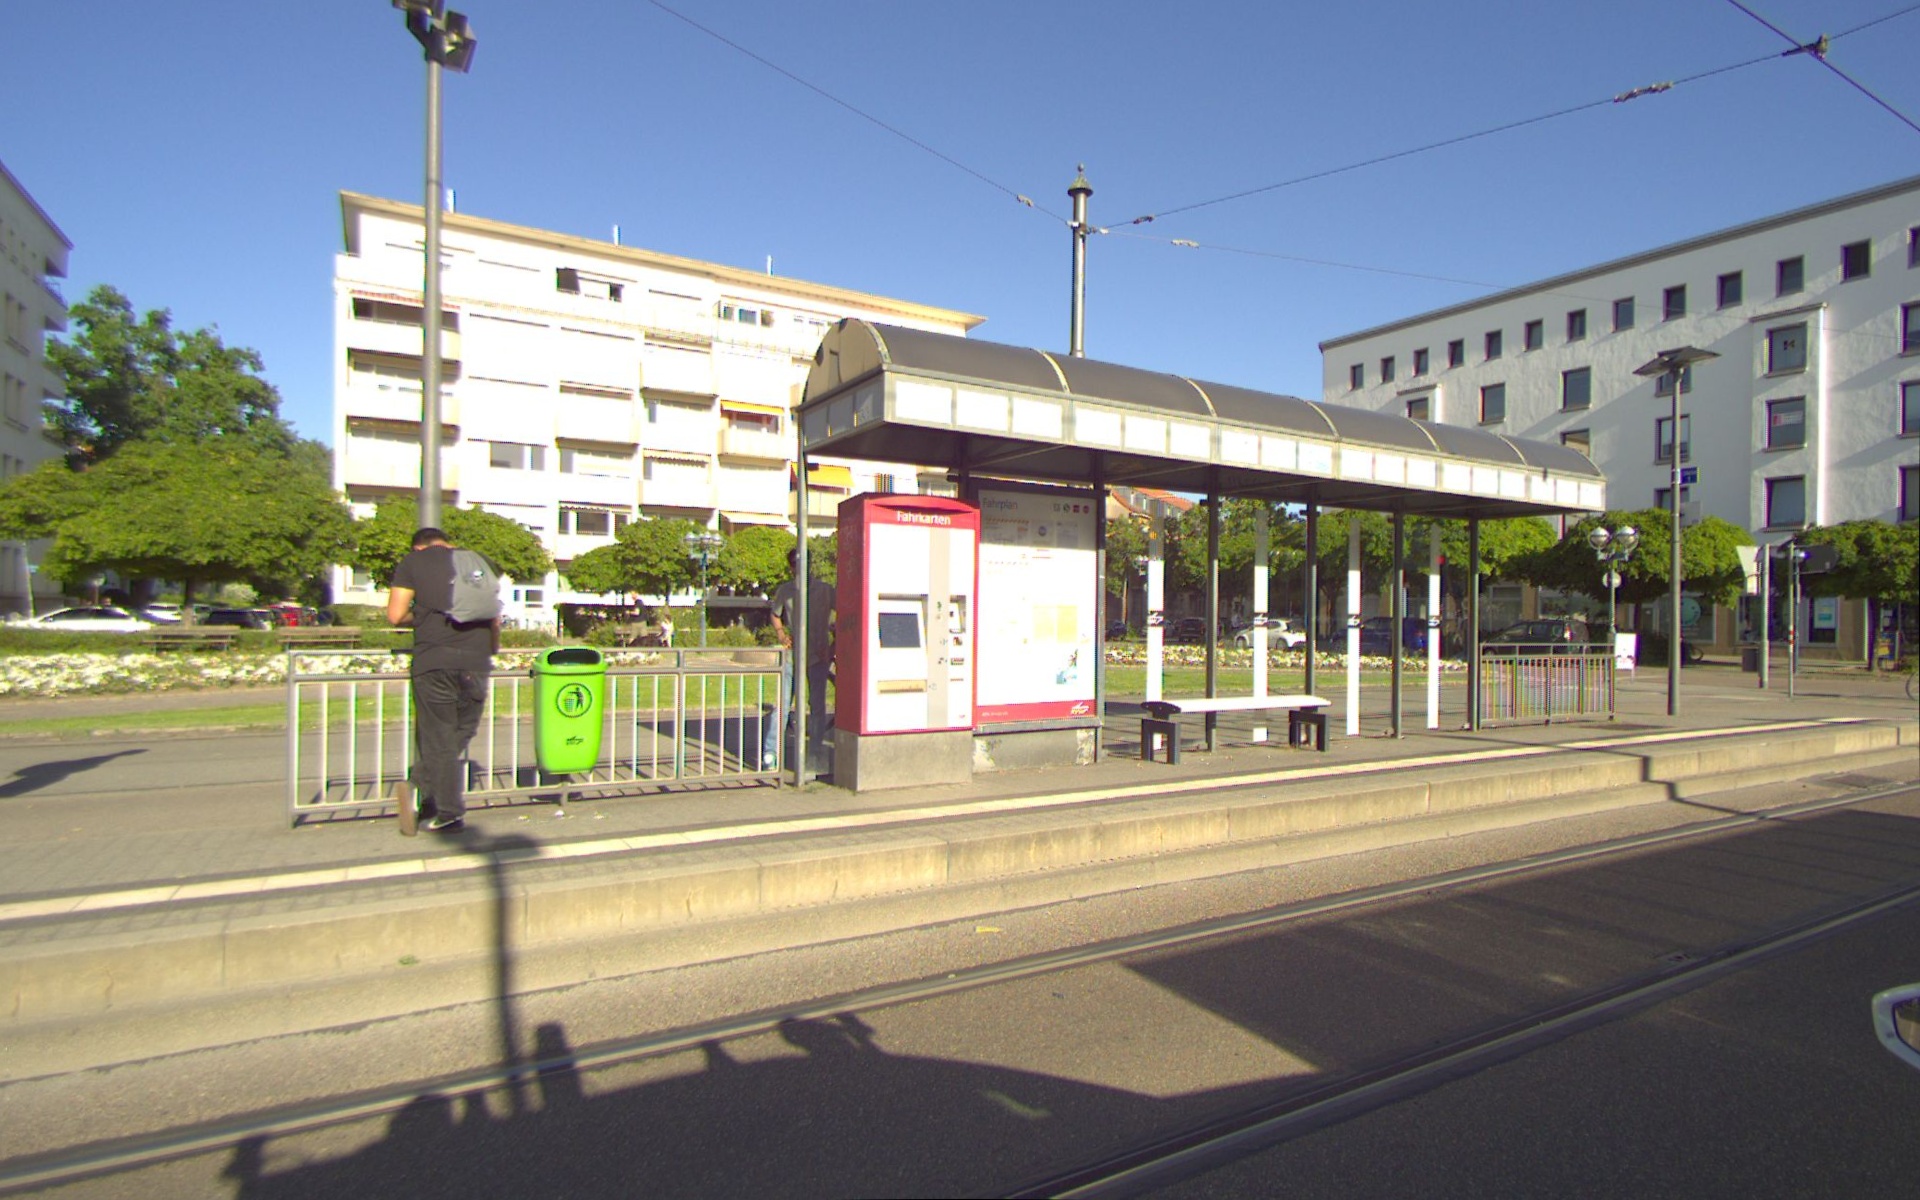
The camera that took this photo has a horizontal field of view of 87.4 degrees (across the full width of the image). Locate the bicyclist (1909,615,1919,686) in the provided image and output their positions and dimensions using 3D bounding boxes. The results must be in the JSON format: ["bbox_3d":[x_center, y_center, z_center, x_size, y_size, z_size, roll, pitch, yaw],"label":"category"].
[{"bbox_3d":[20.344,1.065,20.668,0.859,1.475,0.830,2,0,14],"label":"bicyclist"}]

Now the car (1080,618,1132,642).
[{"bbox_3d":[9.846,1.988,67.316,1.887,1.514,4.343,2,0,31],"label":"car"}]

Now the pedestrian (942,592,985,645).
[{"bbox_3d":[0.143,0.722,39.660,1.219,2.040,1.214,1,0,-30],"label":"pedestrian"}]

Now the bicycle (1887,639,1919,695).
[{"bbox_3d":[20.457,1.397,20.636,1.937,1.128,0.731,1,0,15],"label":"bicycle"}]

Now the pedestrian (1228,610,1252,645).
[{"bbox_3d":[14.984,1.463,53.750,0.856,1.841,0.944,1,0,-19],"label":"pedestrian"}]

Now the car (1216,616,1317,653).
[{"bbox_3d":[14.668,1.608,48.251,1.835,1.628,4.581,1,-1,-31],"label":"car"}]

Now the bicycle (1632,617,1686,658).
[{"bbox_3d":[28.391,1.510,40.793,2.585,1.628,0.616,1,0,-26],"label":"bicycle"}]

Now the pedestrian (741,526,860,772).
[{"bbox_3d":[-1.247,0.375,7.818,0.760,1.797,0.613,1,-3,-28],"label":"pedestrian"}]

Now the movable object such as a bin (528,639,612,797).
[{"bbox_3d":[-2.279,0.668,5.861,0.411,0.871,0.335,1,0,-27],"label":"movable object such as a bin"}]

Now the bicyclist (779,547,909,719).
[{"bbox_3d":[-1.315,0.358,11.360,1.086,1.817,0.996,1,0,-38],"label":"bicyclist"}]

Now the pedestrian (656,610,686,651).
[{"bbox_3d":[-9.755,1.022,33.903,0.672,1.378,1.042,1,-1,-34],"label":"pedestrian"}]

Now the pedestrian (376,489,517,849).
[{"bbox_3d":[-2.668,0.347,5.244,0.599,1.740,0.546,1,-2,-28],"label":"pedestrian"}]

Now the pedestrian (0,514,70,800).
[{"bbox_3d":[-6.205,0.339,5.945,0.976,1.702,0.975,0,-1,7],"label":"pedestrian"}]

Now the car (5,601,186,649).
[{"bbox_3d":[-25.078,0.730,29.324,3.672,1.318,1.984,1,-1,-30],"label":"car"}]

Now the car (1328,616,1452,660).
[{"bbox_3d":[18.372,1.590,43.122,1.978,1.684,4.581,1,-1,-31],"label":"car"}]

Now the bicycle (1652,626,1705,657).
[{"bbox_3d":[28.717,1.663,40.149,2.586,1.206,0.615,1,-1,-27],"label":"bicycle"}]

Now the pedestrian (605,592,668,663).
[{"bbox_3d":[-8.457,0.715,26.315,1.153,1.811,1.082,1,0,16],"label":"pedestrian"}]

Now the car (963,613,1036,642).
[{"bbox_3d":[1.963,1.369,49.983,3.271,1.372,1.638,1,-1,-29],"label":"car"}]

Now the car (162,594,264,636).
[{"bbox_3d":[-27.995,0.561,37.756,2.899,1.506,1.407,1,-1,-30],"label":"car"}]

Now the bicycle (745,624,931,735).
[{"bbox_3d":[-1.346,0.856,11.374,2.018,1.141,0.706,1,-1,-39],"label":"bicycle"}]

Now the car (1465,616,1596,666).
[{"bbox_3d":[21.573,1.520,38.132,1.804,1.728,3.968,1,-1,-30],"label":"car"}]
